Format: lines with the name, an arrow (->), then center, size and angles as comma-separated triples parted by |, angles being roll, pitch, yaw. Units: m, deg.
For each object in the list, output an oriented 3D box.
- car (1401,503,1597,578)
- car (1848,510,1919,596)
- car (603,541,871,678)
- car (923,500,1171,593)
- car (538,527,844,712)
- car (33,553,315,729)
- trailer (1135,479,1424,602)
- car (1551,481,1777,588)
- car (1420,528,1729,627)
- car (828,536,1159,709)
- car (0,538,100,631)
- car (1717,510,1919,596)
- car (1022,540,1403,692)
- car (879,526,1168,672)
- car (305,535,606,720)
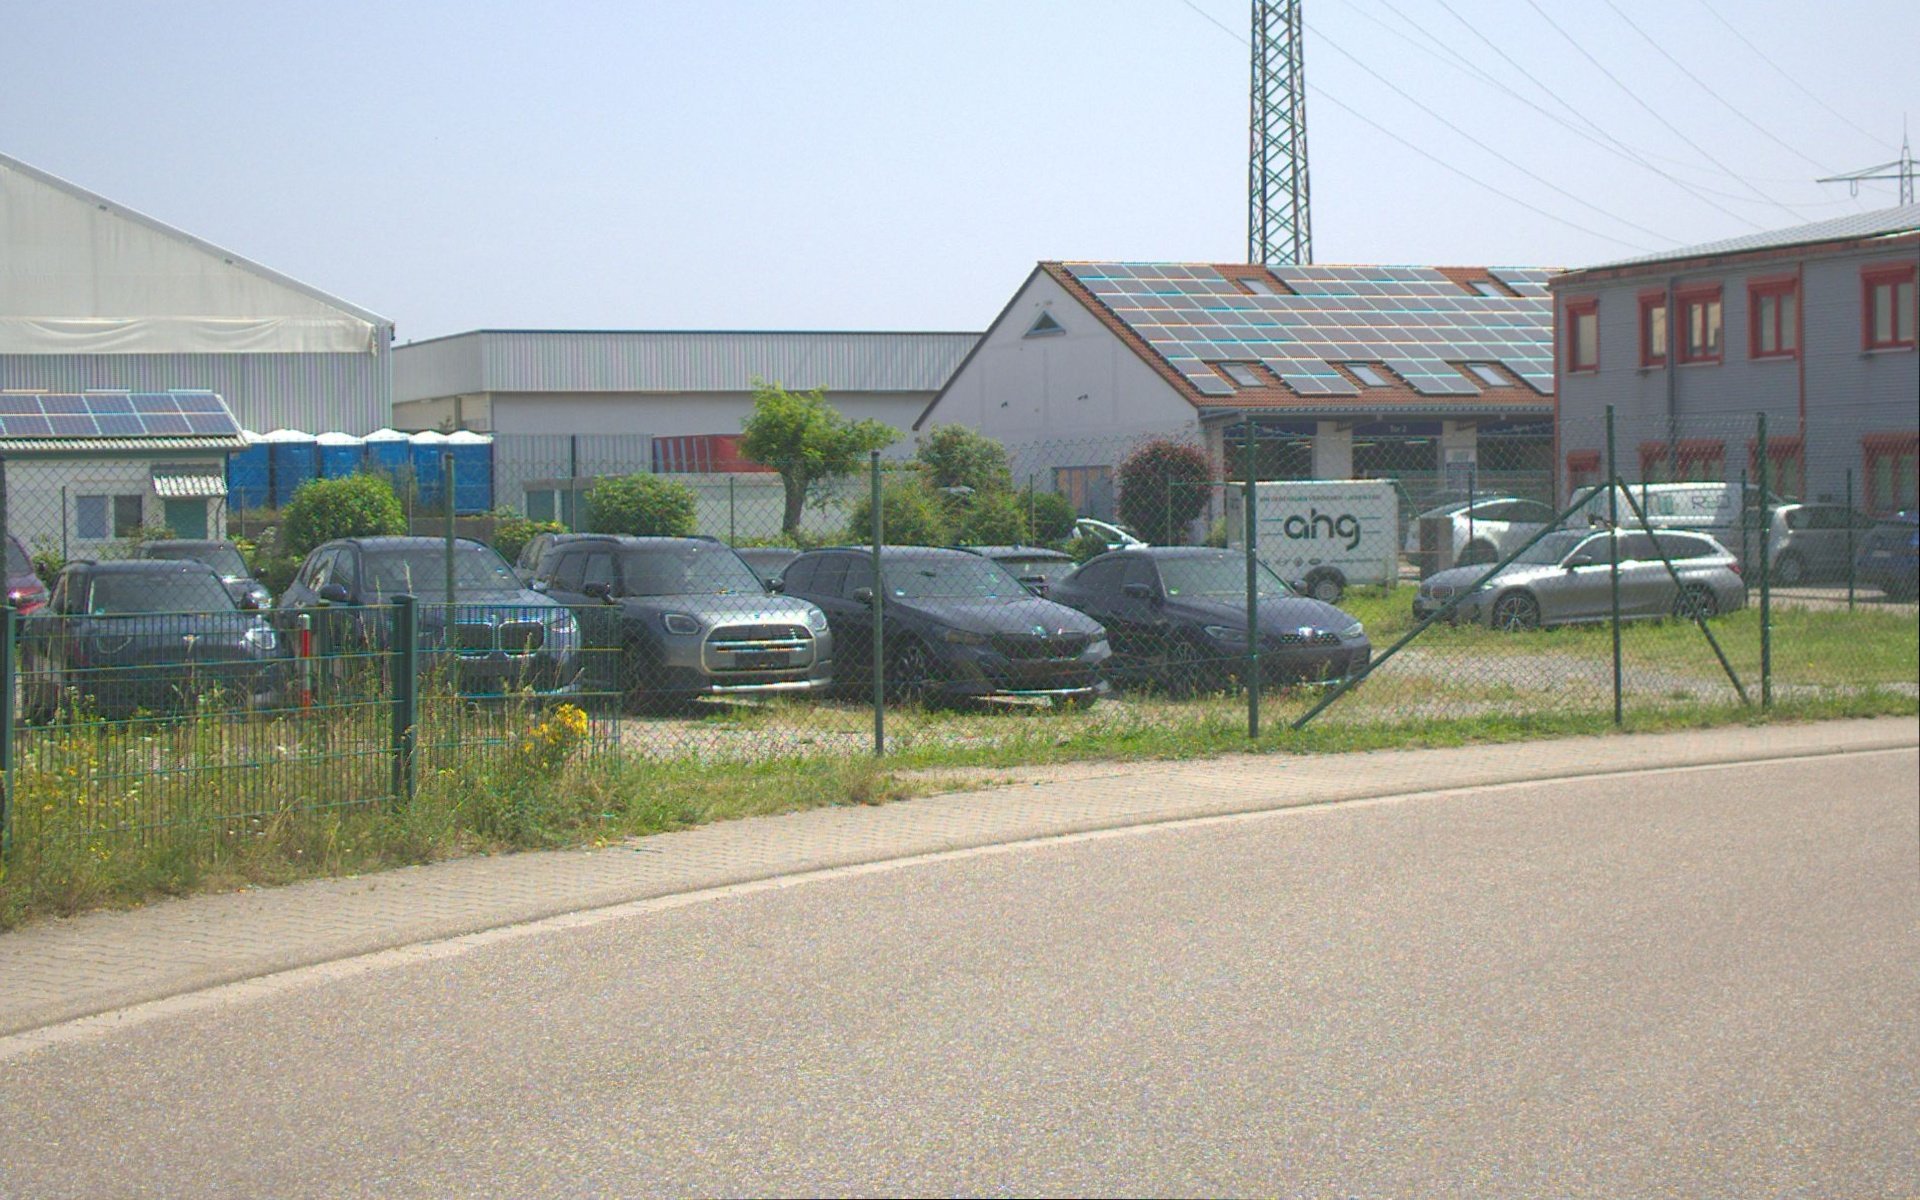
car -> 11.416, -1.274, 72.815 | 3.893, 1.510, 1.508 | -1, 2, -23
car -> 16.955, -0.822, 58.084 | 3.591, 1.411, 1.508 | -1, 2, -23
car -> -2.601, 0.063, 39.185 | 1.993, 1.415, 4.001 | -1, 2, -20
car -> 1.540, -0.970, 61.236 | 3.986, 1.593, 1.877 | -1, 1, -20
car -> -2.611, 0.140, 32.623 | 1.862, 1.638, 3.635 | -1, 1, -22
car -> -7.052, 0.312, 30.601 | 1.862, 1.428, 3.650 | -1, 1, -22
trailer -> 5.225, -0.989, 56.456 | 4.446, 1.938, 1.715 | -1, 2, -7
car -> 13.520, -1.272, 66.025 | 3.893, 1.972, 1.824 | -1, 2, -23
car -> 8.360, -0.328, 46.723 | 4.128, 1.256, 1.235 | -1, 2, -23
car -> 0.256, 0.164, 33.118 | 1.862, 1.549, 3.771 | -1, 1, -22
car -> -12.768, -0.238, 45.833 | 1.862, 1.171, 4.605 | -1, 1, -22
car -> 16.022, -0.887, 63.935 | 3.591, 1.538, 1.508 | -1, 2, -23
car -> 2.471, 0.108, 35.049 | 1.995, 1.430, 4.667 | -1, 1, -22
car -> 0.660, -0.062, 39.890 | 1.995, 1.430, 4.424 | -1, 3, -18
car -> -4.652, 0.197, 31.277 | 1.862, 1.556, 3.698 | -1, 1, -22
